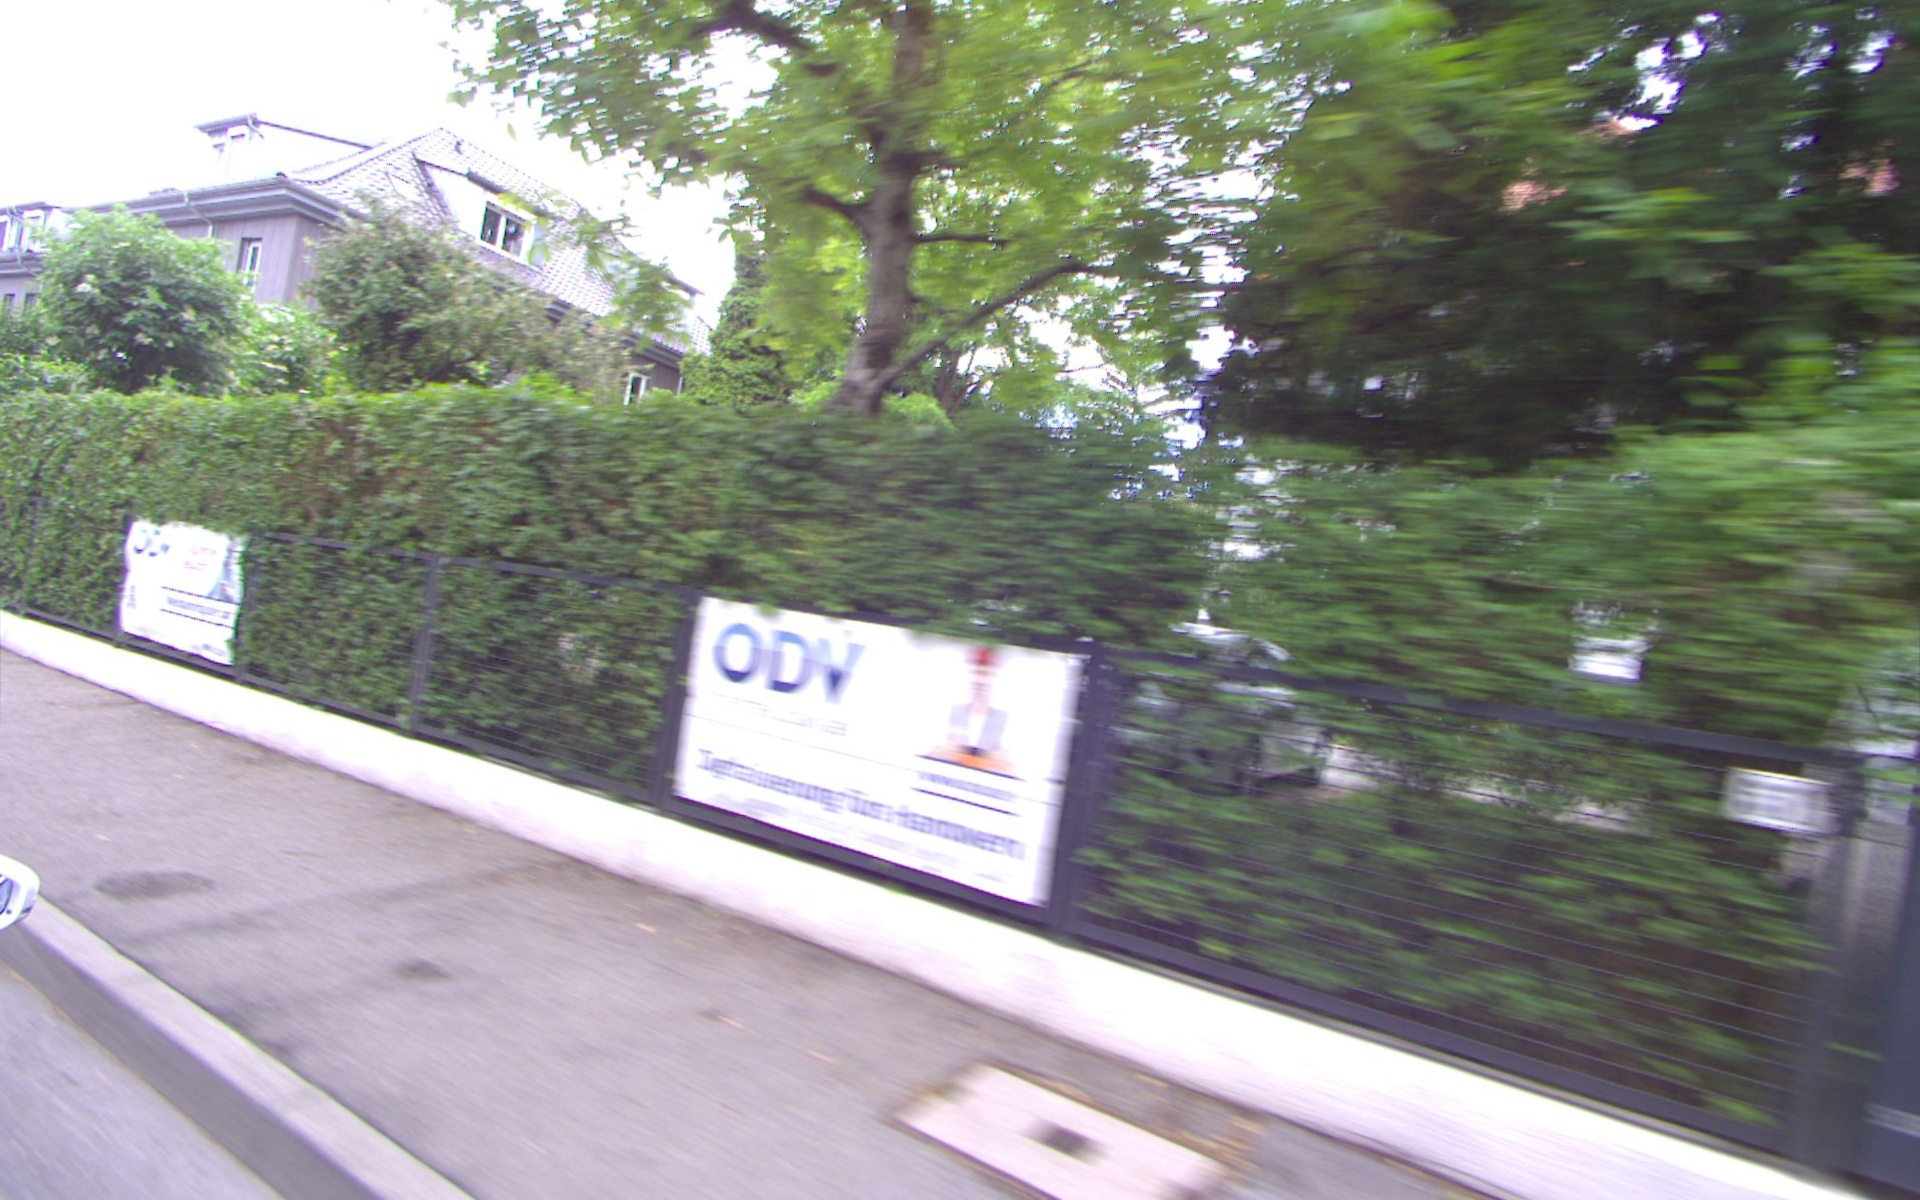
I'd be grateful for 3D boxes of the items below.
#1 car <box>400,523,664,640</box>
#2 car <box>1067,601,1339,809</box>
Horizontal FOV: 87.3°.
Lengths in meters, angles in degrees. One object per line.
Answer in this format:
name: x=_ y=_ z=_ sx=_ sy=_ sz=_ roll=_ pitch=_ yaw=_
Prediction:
car: x=-7.818 y=-0.304 z=18.512 sx=3.972 sy=1.480 sz=1.979 roll=10 pitch=-3 yaw=-39
car: x=2.365 y=0.944 z=9.306 sx=1.327 sy=1.470 sz=2.995 roll=7 pitch=-1 yaw=34
